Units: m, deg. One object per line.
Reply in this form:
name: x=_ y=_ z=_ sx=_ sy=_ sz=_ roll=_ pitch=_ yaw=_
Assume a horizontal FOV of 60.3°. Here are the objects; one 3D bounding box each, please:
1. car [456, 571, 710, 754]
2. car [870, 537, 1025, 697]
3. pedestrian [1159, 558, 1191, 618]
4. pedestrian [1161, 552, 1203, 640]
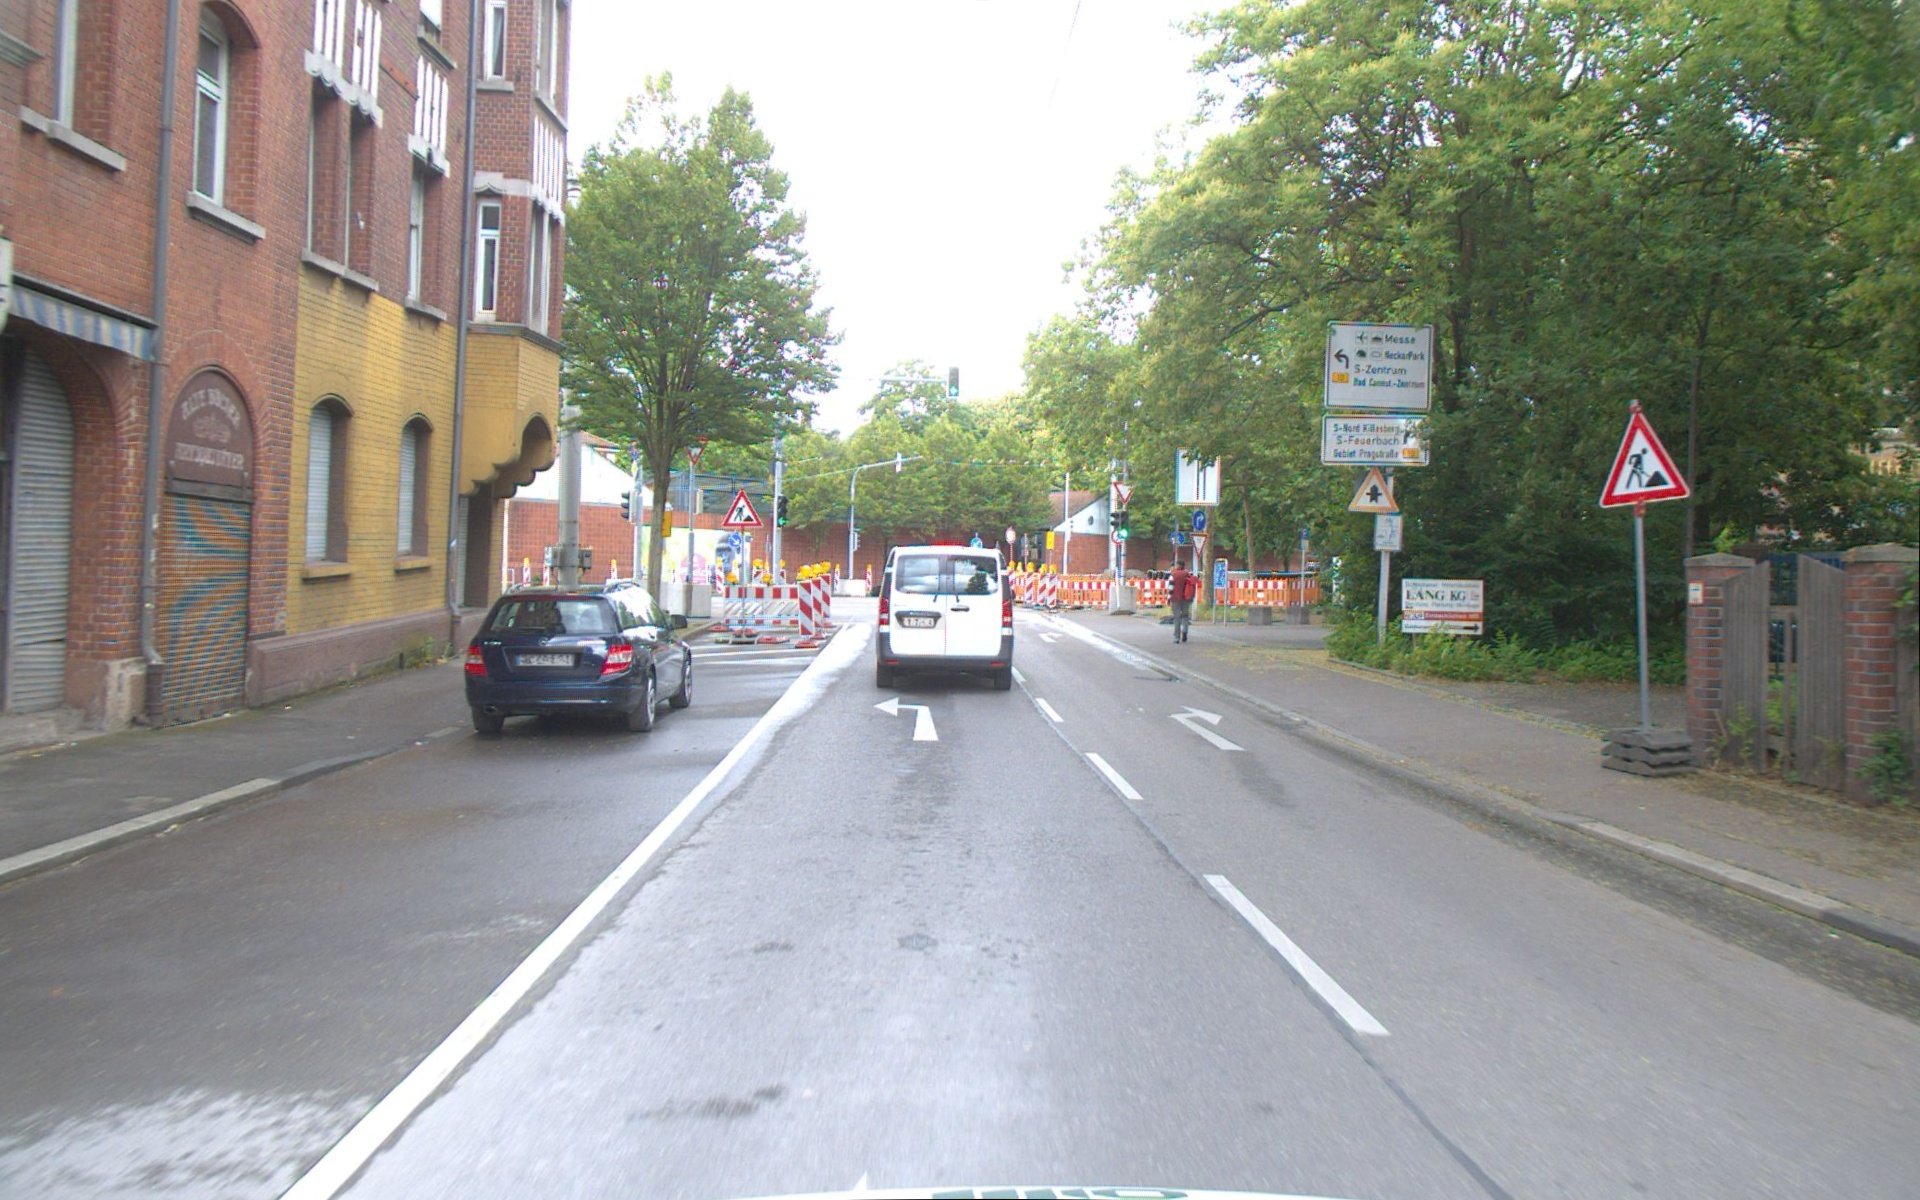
car: x=-3.840 y=0.547 z=17.579 sx=1.690 sy=1.511 sz=4.391 roll=2 pitch=3 yaw=0
car: x=-0.234 y=0.255 z=23.679 sx=1.879 sy=1.934 sz=4.699 roll=4 pitch=-1 yaw=-2
pedestrian: x=6.282 y=-0.367 z=48.453 sx=0.717 sy=1.727 sz=0.836 roll=-1 pitch=2 yaw=-10
pedestrian: x=4.780 y=-0.102 z=35.630 sx=0.763 sy=1.863 sz=0.727 roll=-1 pitch=1 yaw=-1
